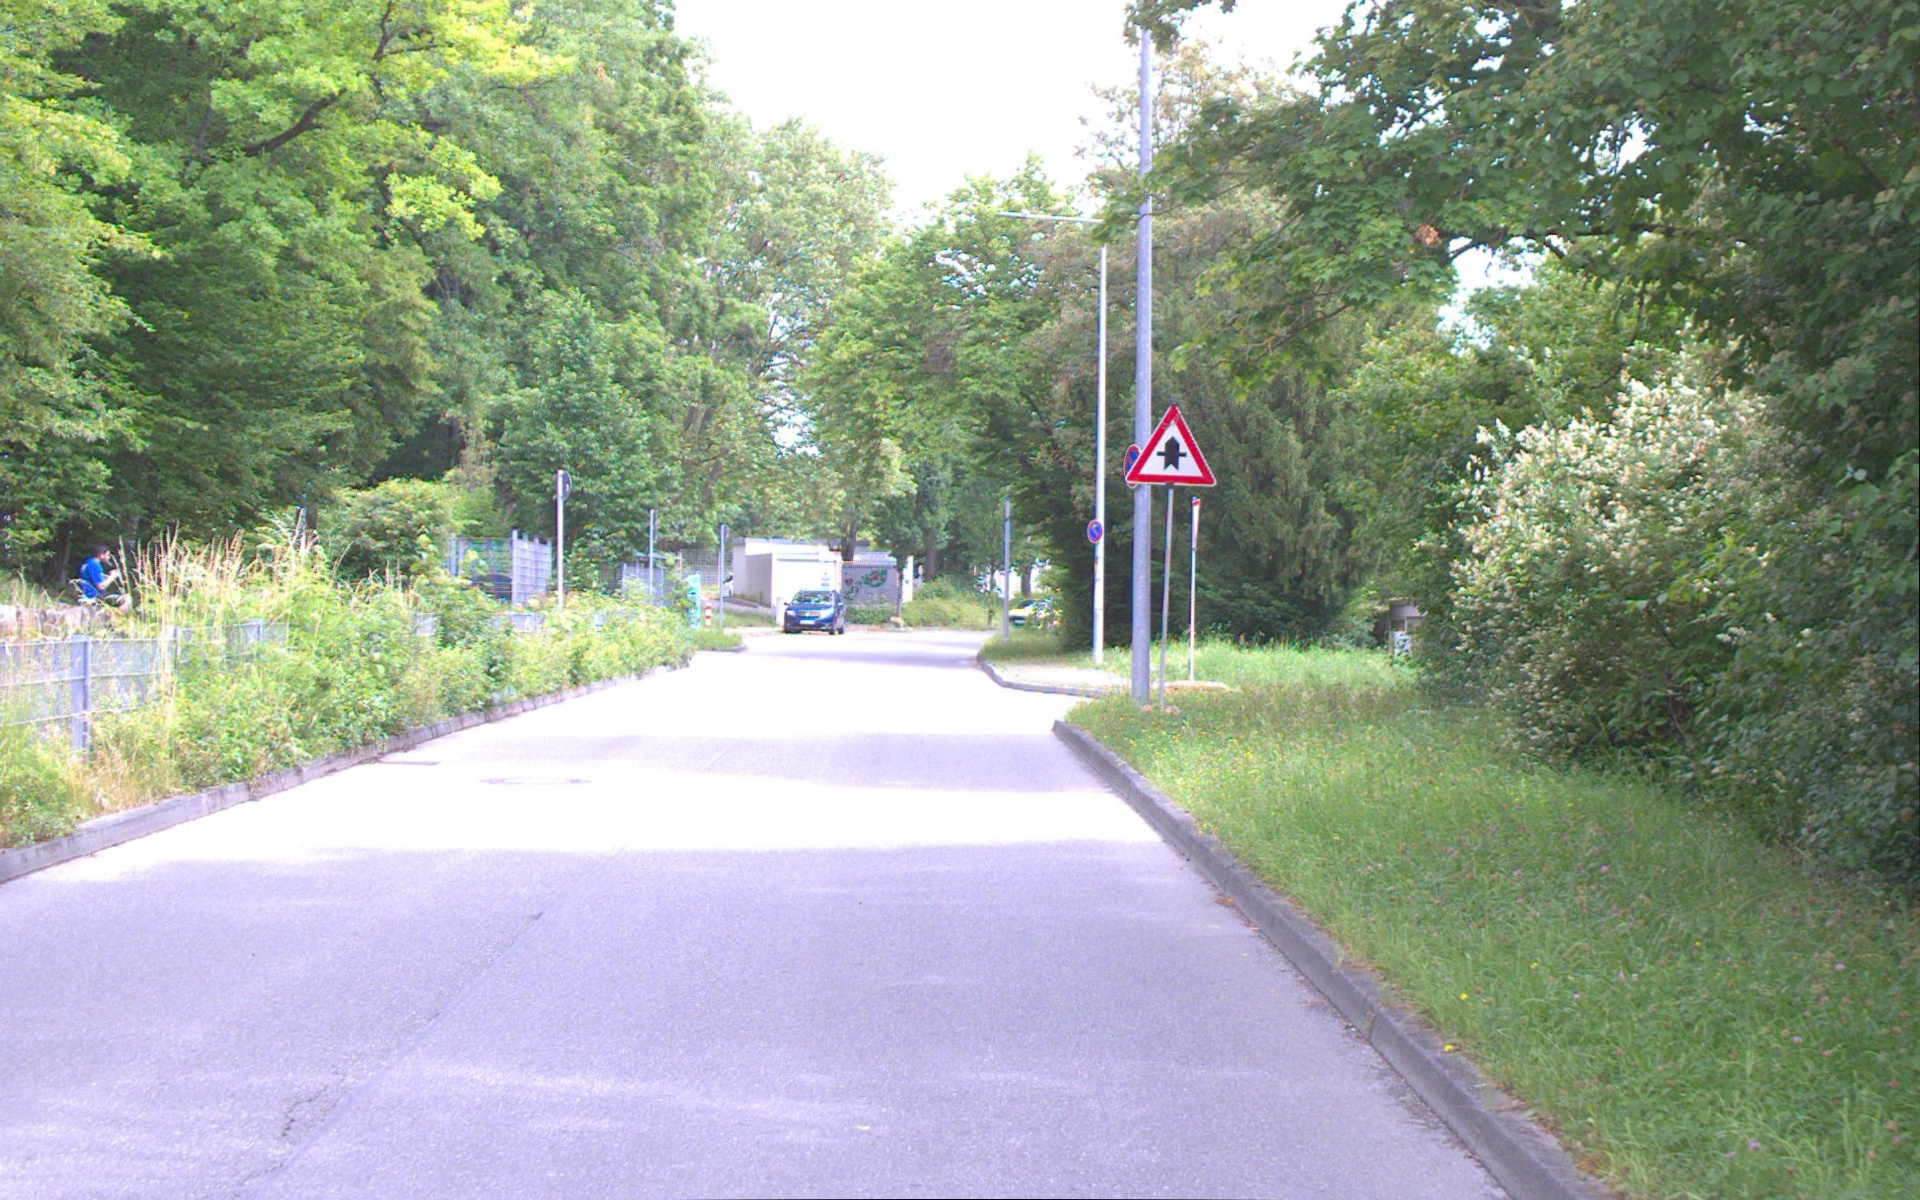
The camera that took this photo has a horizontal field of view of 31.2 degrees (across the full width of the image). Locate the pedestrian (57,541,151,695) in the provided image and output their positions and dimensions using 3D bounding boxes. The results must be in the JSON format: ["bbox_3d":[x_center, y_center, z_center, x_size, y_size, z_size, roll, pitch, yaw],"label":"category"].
[{"bbox_3d":[-11.391,0.254,45.731,0.865,2.007,0.877,1,-3,-45],"label":"pedestrian"}]

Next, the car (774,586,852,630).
[{"bbox_3d":[-4.967,0.258,116.284,1.979,1.379,3.999,2,1,7],"label":"car"}]

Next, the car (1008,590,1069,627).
[{"bbox_3d":[3.521,0.412,153.464,1.861,1.487,3.997,-2,-2,14],"label":"car"}]
